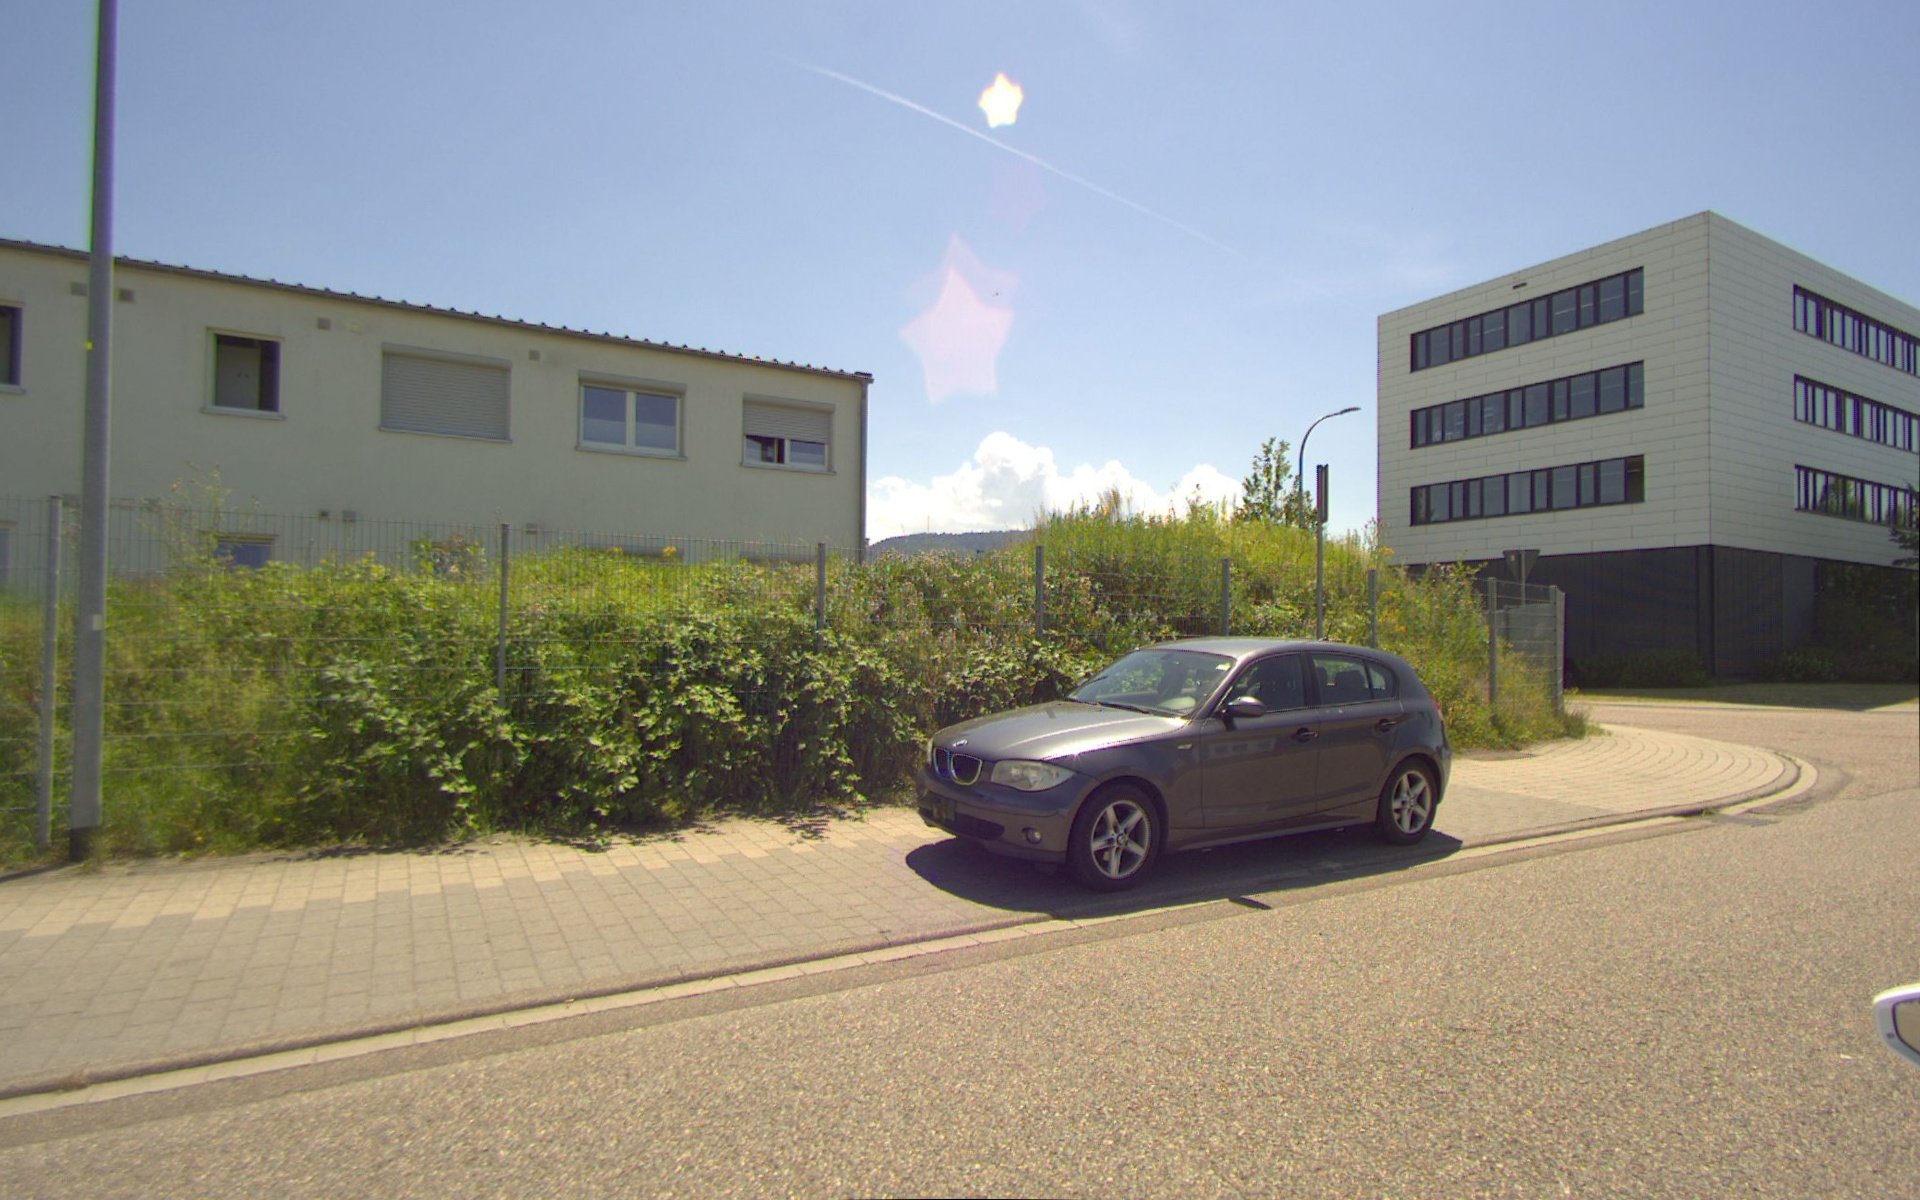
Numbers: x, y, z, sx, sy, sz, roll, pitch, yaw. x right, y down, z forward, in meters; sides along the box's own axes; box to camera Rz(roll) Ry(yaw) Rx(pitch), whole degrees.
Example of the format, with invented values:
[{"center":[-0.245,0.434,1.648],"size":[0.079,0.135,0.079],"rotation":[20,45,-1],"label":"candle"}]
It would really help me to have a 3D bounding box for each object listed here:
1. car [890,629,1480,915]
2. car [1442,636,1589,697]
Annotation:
[{"center":[1.672,0.961,7.060],"size":[4.021,1.470,1.666],"rotation":[1,-1,-31],"label":"car"},{"center":[17.933,2.087,32.393],"size":[4.841,1.614,1.798],"rotation":[-2,-1,-28],"label":"car"}]
